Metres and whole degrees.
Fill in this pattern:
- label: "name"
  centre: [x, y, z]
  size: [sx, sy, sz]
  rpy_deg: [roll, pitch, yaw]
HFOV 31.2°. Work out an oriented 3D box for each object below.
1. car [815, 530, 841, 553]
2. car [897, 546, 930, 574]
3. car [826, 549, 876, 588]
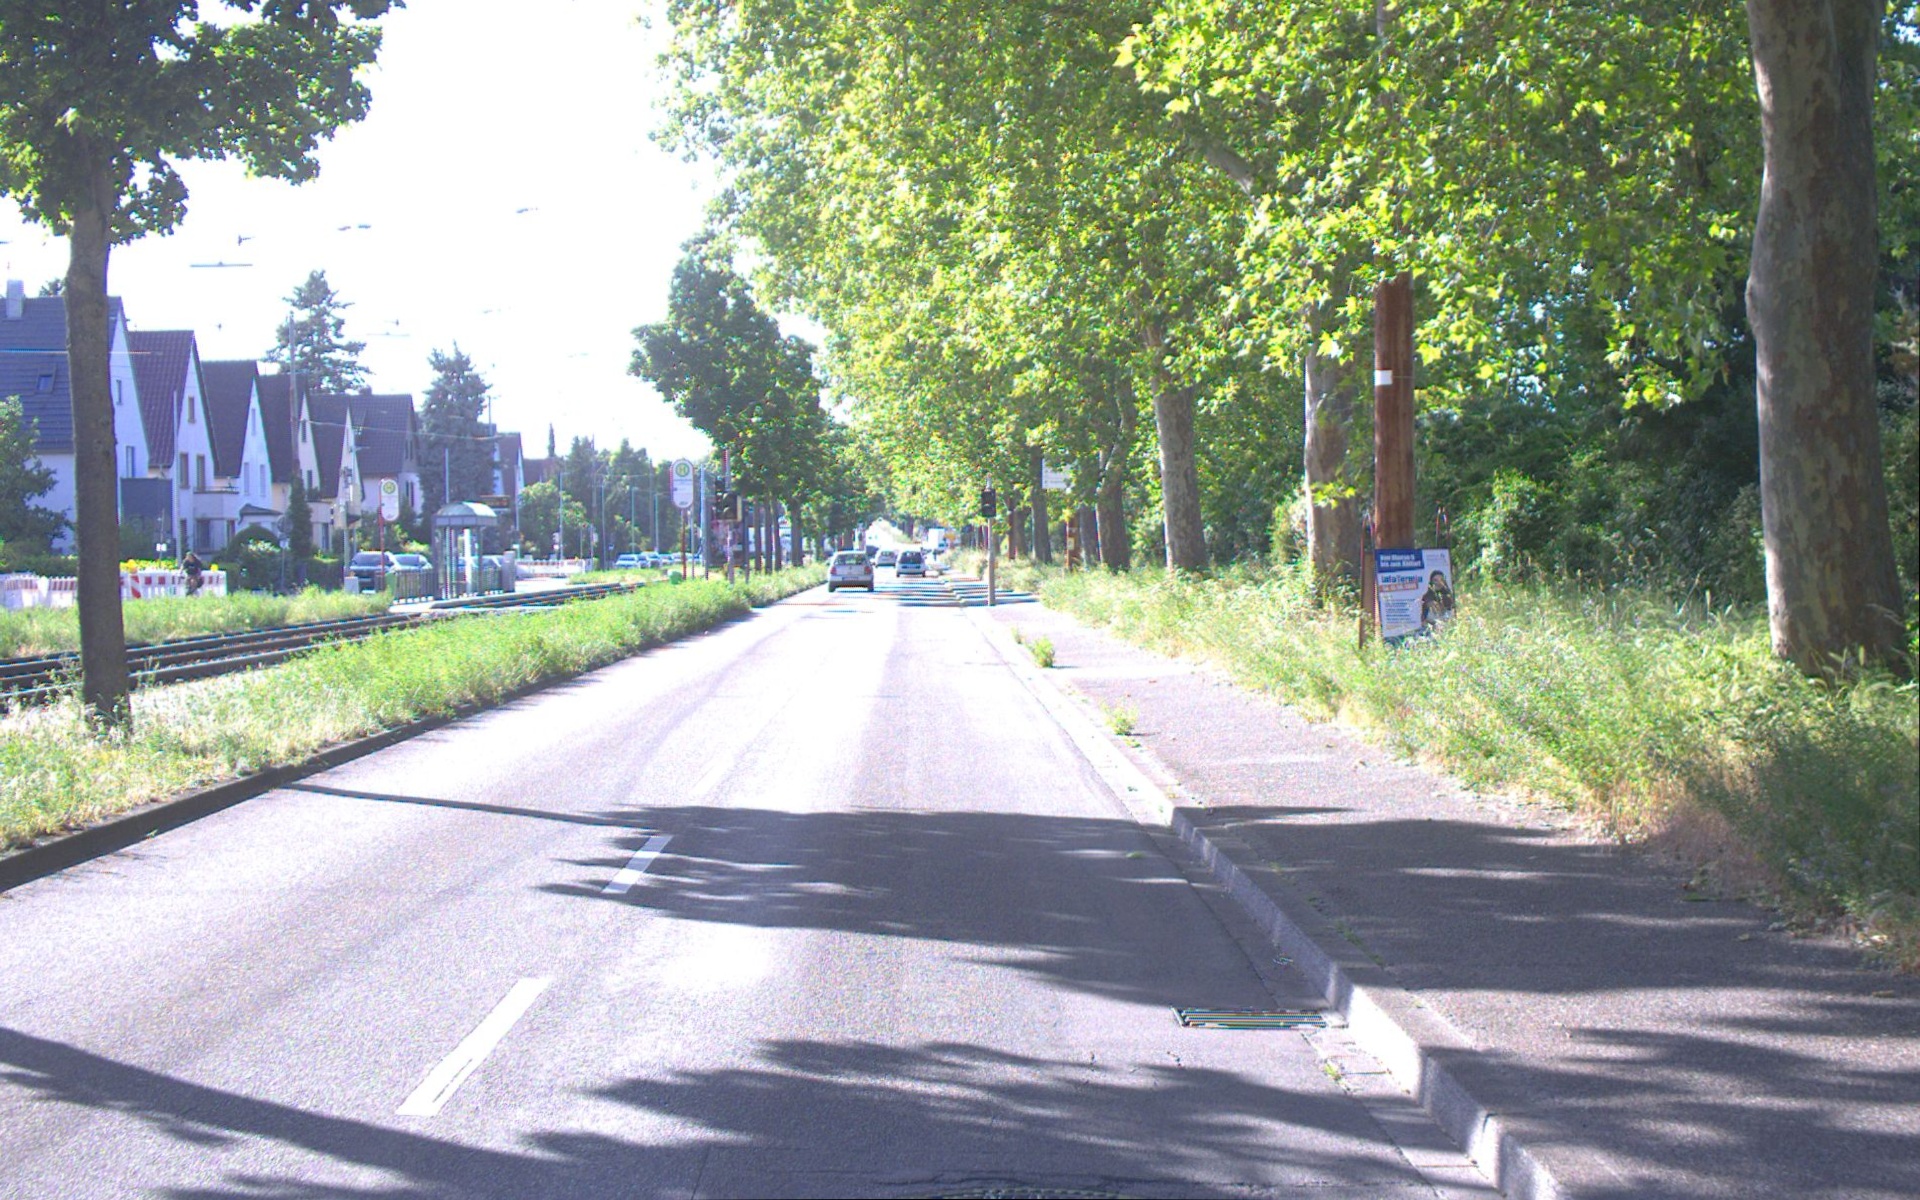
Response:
- label: "car"
  centre: [-8.558, -3.813, 223.152]
  size: [1.527, 1.450, 3.287]
  rpy_deg: [1, 0, 0]
- label: "car"
  centre: [-2.582, -2.245, 192.288]
  size: [1.761, 1.508, 3.277]
  rpy_deg: [1, 0, 0]
- label: "car"
  centre: [-3.898, -1.131, 123.459]
  size: [1.738, 1.396, 3.277]
  rpy_deg: [1, 0, -1]
